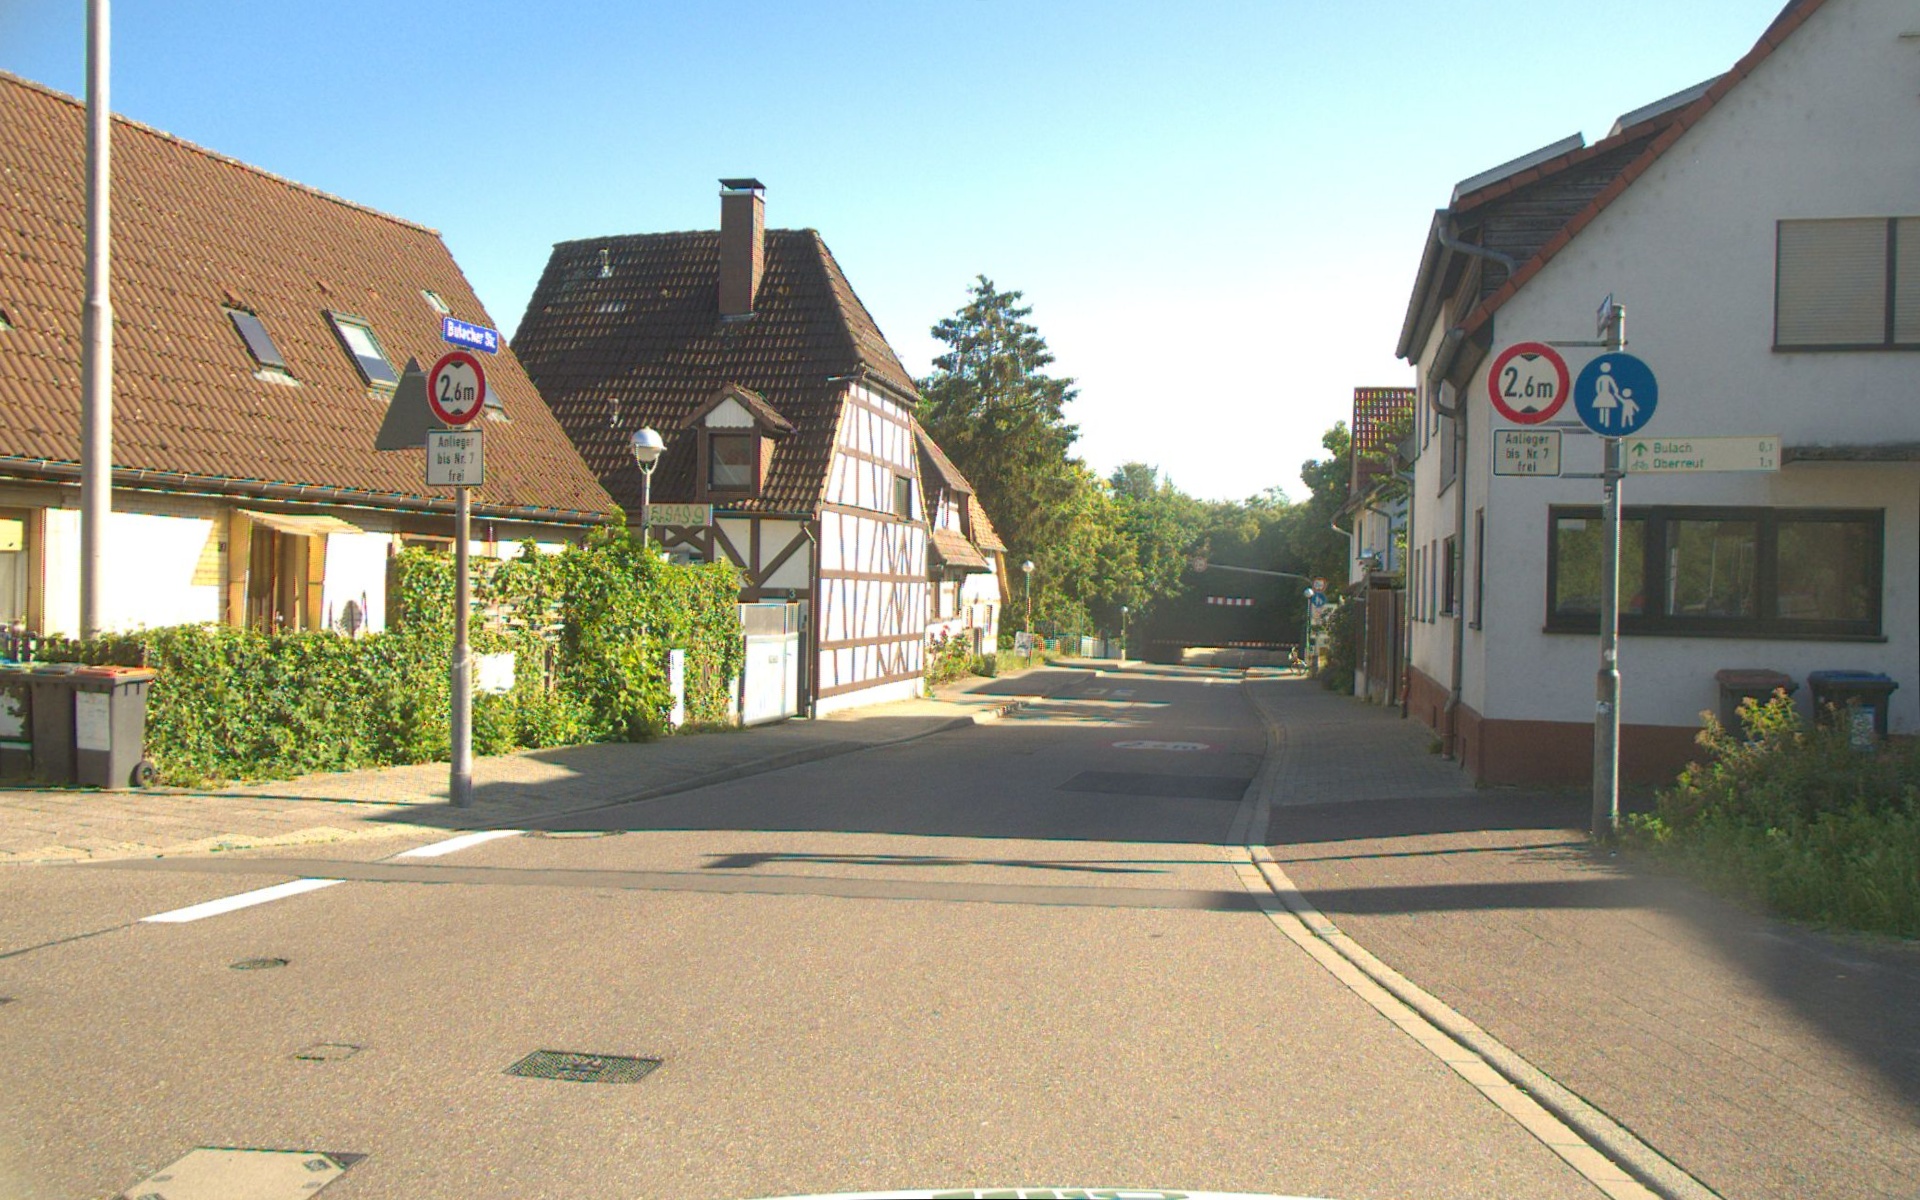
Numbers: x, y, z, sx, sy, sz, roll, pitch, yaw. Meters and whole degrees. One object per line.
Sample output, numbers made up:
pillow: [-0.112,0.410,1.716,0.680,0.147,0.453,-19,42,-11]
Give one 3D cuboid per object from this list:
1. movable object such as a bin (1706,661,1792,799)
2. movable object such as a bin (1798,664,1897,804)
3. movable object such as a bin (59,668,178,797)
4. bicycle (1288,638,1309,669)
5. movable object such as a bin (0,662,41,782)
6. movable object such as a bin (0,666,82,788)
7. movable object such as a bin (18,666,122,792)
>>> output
movable object such as a bin: [7.014,1.141,14.727,0.470,1.142,0.749,1,0,9]
movable object such as a bin: [7.735,1.153,14.436,0.515,1.142,0.749,1,0,9]
movable object such as a bin: [-6.655,1.035,13.101,0.544,0.941,0.626,1,0,17]
bicycle: [13.451,2.120,65.747,0.674,1.177,1.541,-3,-1,9]
movable object such as a bin: [-7.976,0.997,13.522,0.497,0.941,0.626,1,0,17]
movable object such as a bin: [-7.525,1.015,13.388,0.403,0.921,0.626,1,1,17]
movable object such as a bin: [-7.126,1.021,13.256,0.402,0.941,0.626,1,0,17]
